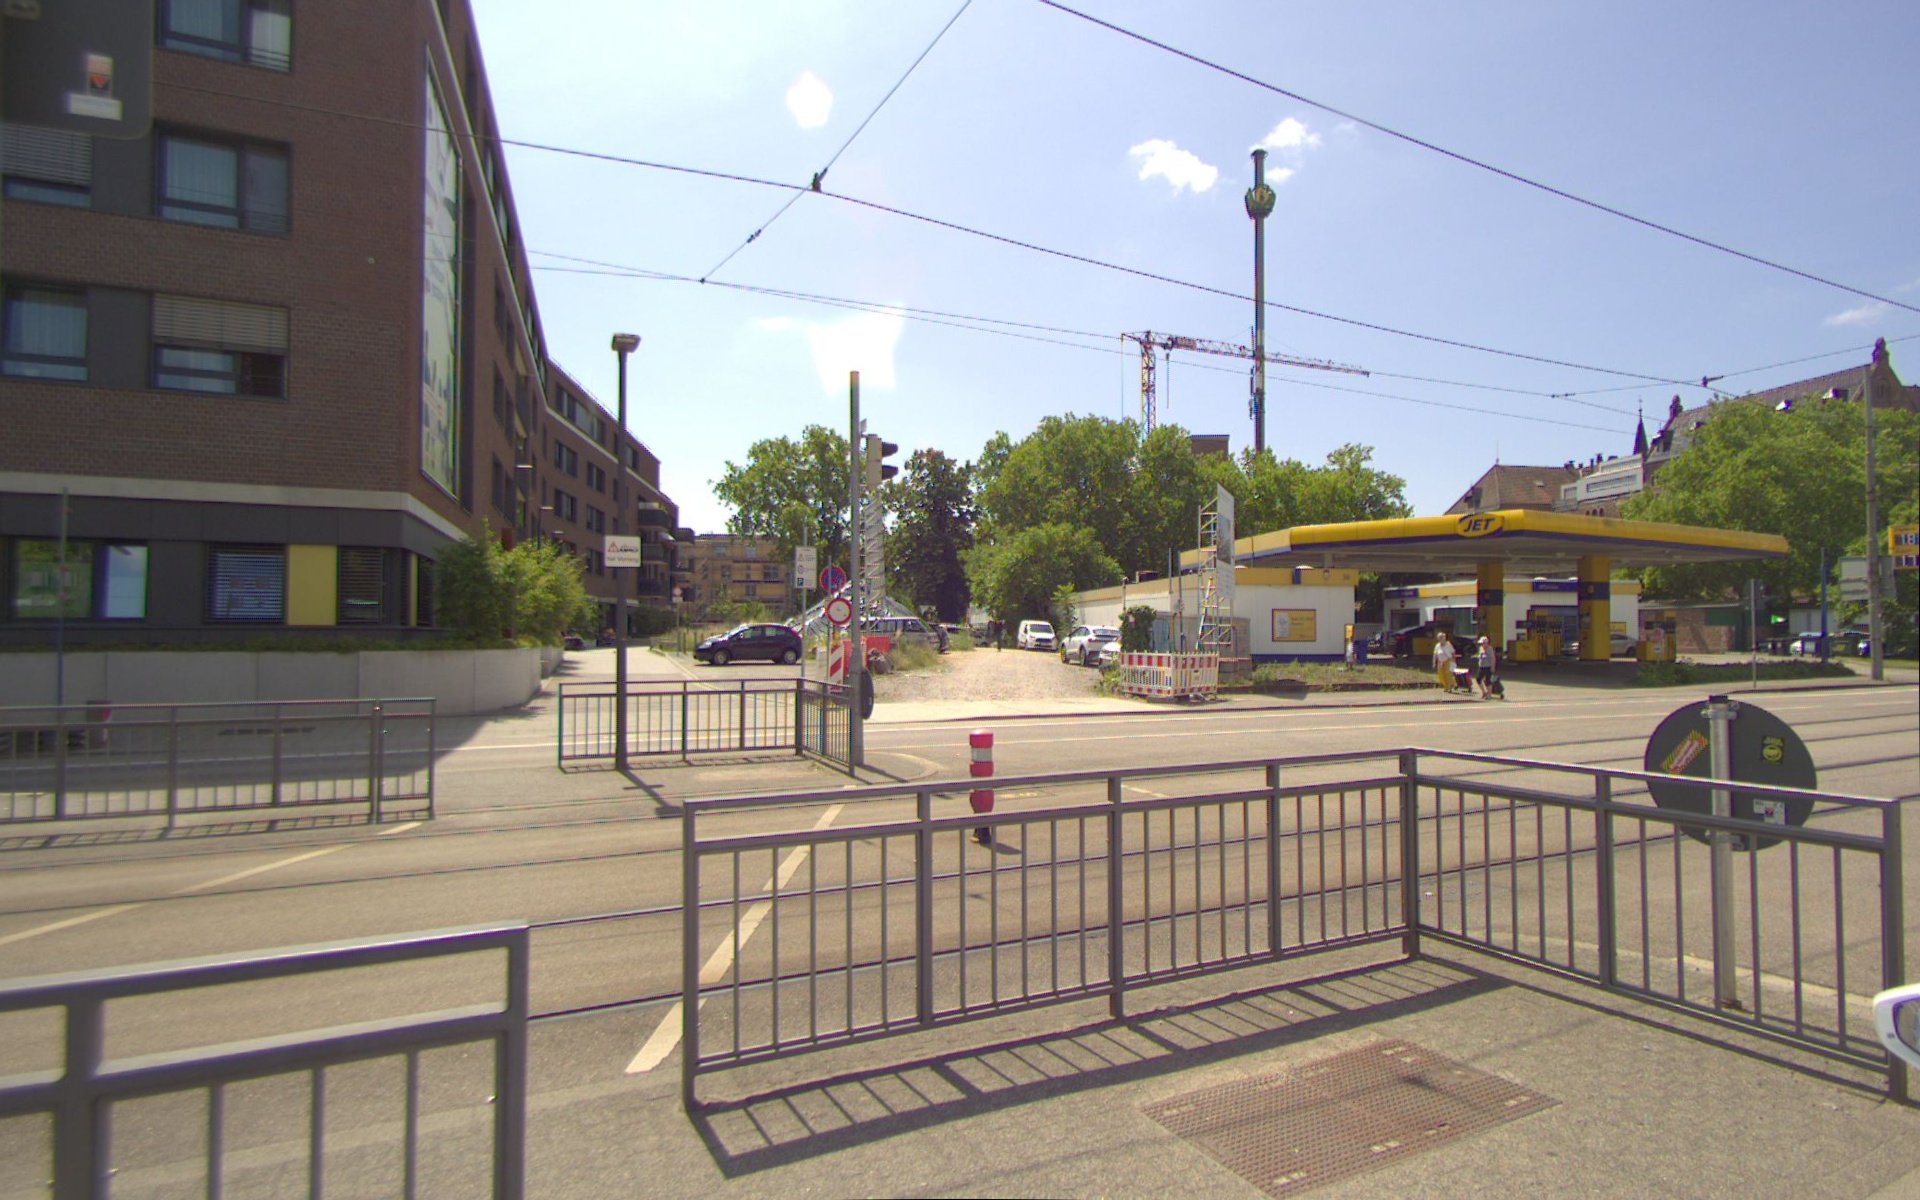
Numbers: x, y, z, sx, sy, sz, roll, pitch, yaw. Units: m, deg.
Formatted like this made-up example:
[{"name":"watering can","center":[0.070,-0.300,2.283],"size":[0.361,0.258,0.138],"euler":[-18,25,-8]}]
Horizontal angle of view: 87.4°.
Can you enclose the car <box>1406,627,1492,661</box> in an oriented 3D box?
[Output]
[{"name":"car","center":[25.283,2.272,51.969],"size":[3.700,1.725,1.602],"euler":[0,-4,-7]}]

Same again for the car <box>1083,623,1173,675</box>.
[{"name":"car","center":[5.499,1.526,32.455],"size":[2.018,1.588,3.998],"euler":[0,-1,23]}]

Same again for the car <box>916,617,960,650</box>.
[{"name":"car","center":[-1.297,2.012,60.532],"size":[2.565,1.928,0.708],"euler":[0,-1,-17]}]

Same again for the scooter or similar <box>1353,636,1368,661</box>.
[{"name":"scooter or similar","center":[15.012,1.817,37.627],"size":[0.323,0.942,0.403],"euler":[0,-1,-30]}]

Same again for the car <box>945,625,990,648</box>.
[{"name":"car","center":[0.573,2.937,80.800],"size":[3.257,1.771,1.650],"euler":[1,-1,-20]}]

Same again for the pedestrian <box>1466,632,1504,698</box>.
[{"name":"pedestrian","center":[13.729,1.698,26.268],"size":[0.658,1.693,0.579],"euler":[1,-1,-24]}]

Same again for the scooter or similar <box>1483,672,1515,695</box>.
[{"name":"scooter or similar","center":[14.341,2.218,26.726],"size":[0.622,0.588,0.475],"euler":[1,-1,-22]}]

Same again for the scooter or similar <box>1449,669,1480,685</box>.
[{"name":"scooter or similar","center":[14.261,2.174,28.380],"size":[0.663,0.400,0.472],"euler":[1,-1,-25]}]

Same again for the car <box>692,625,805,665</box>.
[{"name":"car","center":[-7.740,1.626,36.773],"size":[3.854,1.398,1.620],"euler":[1,-2,-23]}]

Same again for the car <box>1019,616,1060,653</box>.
[{"name":"car","center":[4.676,2.098,59.495],"size":[1.857,2.039,4.000],"euler":[0,-4,-4]}]

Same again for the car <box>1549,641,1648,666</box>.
[{"name":"car","center":[37.551,3.137,59.105],"size":[4.918,1.383,1.838],"euler":[0,-2,-9]}]

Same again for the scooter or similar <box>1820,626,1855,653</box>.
[{"name":"scooter or similar","center":[50.059,2.252,57.307],"size":[1.045,1.486,1.168],"euler":[2,-2,-27]}]

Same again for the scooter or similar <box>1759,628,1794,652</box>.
[{"name":"scooter or similar","center":[49.585,2.424,61.035],"size":[1.043,1.486,1.312],"euler":[1,-1,-21]}]

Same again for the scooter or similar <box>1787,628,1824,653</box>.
[{"name":"scooter or similar","center":[49.770,2.384,59.121],"size":[1.043,1.486,1.312],"euler":[1,-2,-21]}]

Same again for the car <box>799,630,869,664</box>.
[{"name":"car","center":[-5.321,1.983,42.449],"size":[2.698,1.398,1.218],"euler":[1,-2,-23]}]

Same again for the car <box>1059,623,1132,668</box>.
[{"name":"car","center":[5.312,1.756,39.911],"size":[1.728,1.483,4.008],"euler":[0,2,-10]}]

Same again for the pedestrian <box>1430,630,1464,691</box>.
[{"name":"pedestrian","center":[13.597,1.675,28.050],"size":[0.663,1.680,0.551],"euler":[1,-1,-25]}]

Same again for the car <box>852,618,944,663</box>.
[{"name":"car","center":[-2.870,1.858,46.975],"size":[3.919,2.040,2.001],"euler":[0,-1,13]}]
